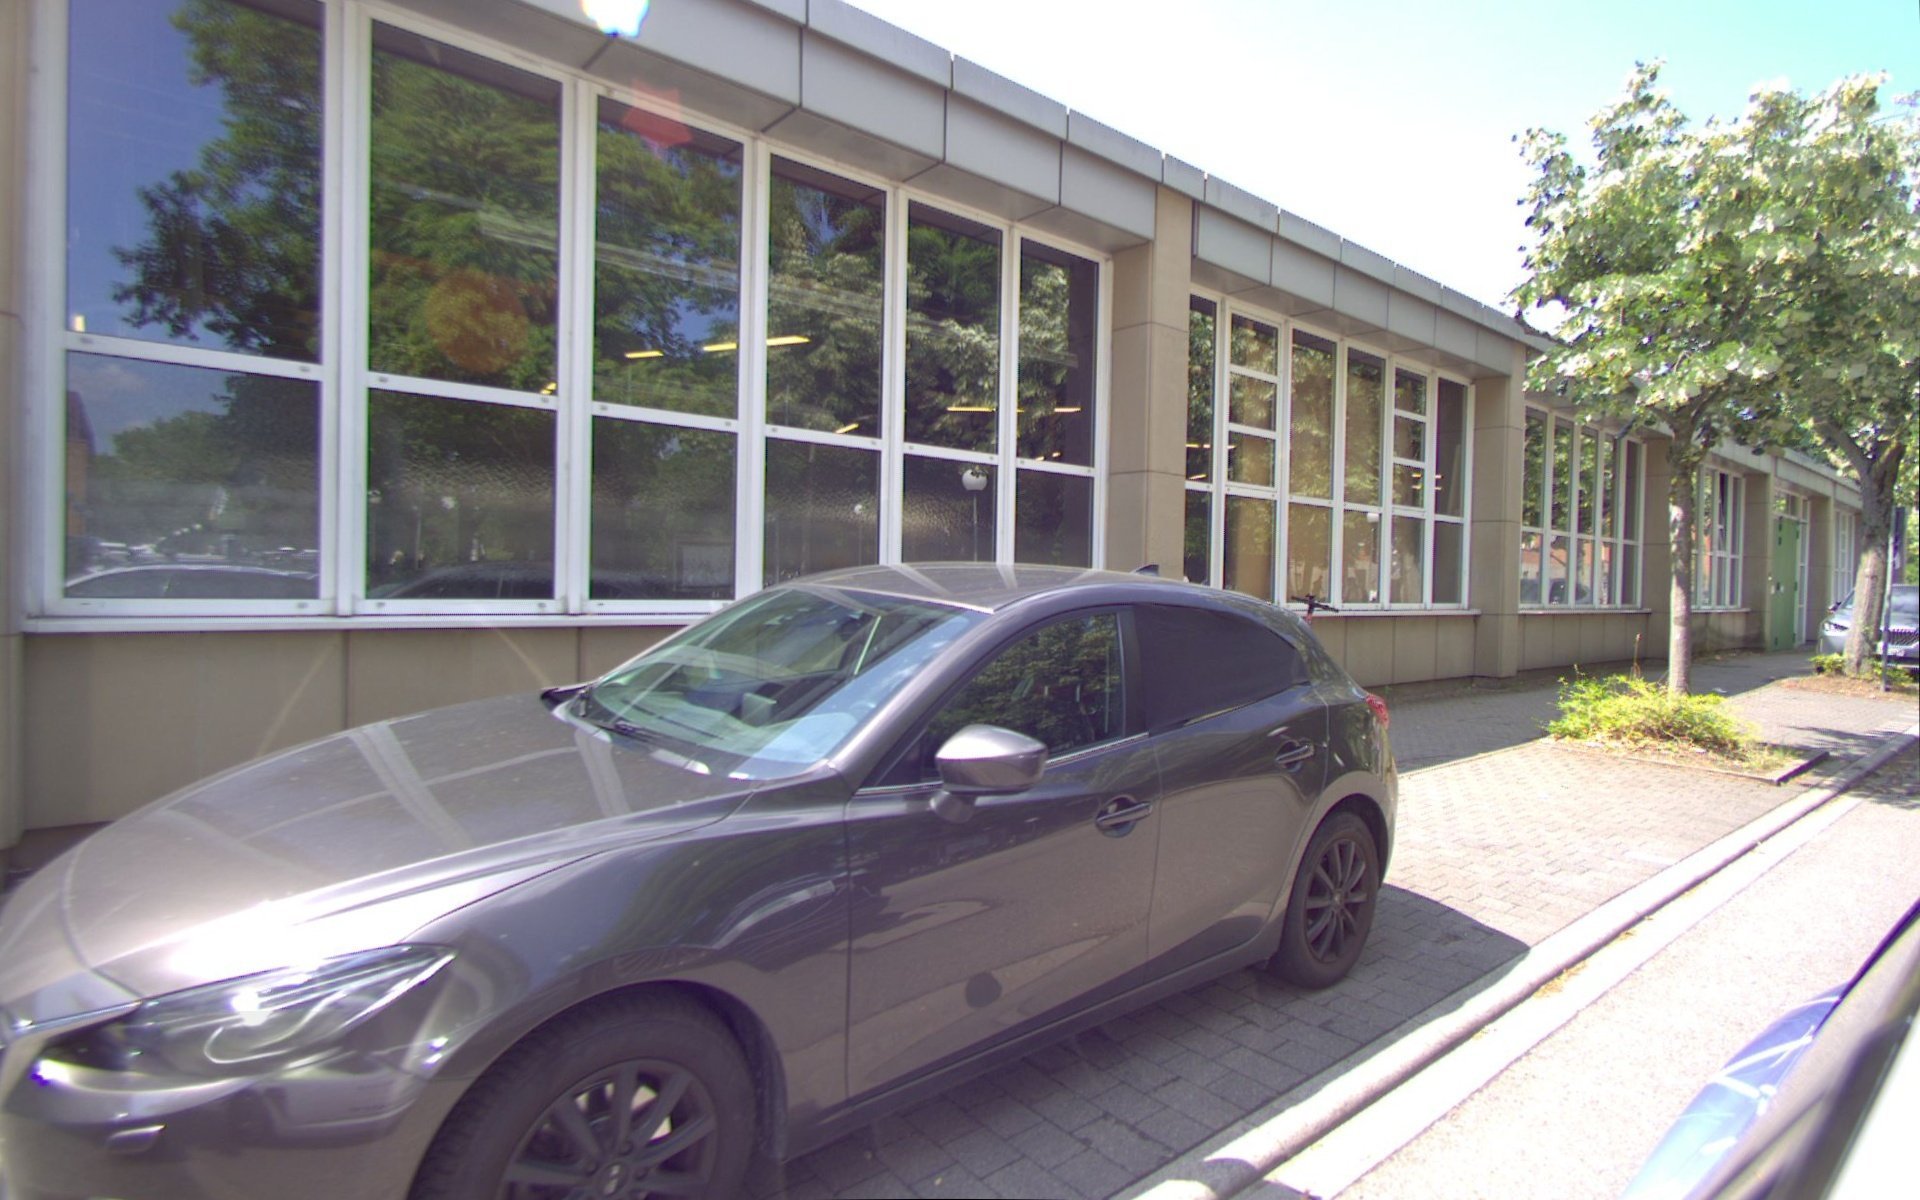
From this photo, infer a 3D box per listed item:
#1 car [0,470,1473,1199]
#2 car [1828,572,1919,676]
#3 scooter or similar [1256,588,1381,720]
[{"bbox_3d":[-0.197,0.526,3.351,4.383,1.494,1.785,0,3,-40],"label":"car"},{"bbox_3d":[17.410,0.397,18.434,4.505,1.684,1.825,0,3,-42],"label":"car"},{"bbox_3d":[3.735,0.520,10.490,1.459,1.265,0.512,0,3,-40],"label":"scooter or similar"}]
